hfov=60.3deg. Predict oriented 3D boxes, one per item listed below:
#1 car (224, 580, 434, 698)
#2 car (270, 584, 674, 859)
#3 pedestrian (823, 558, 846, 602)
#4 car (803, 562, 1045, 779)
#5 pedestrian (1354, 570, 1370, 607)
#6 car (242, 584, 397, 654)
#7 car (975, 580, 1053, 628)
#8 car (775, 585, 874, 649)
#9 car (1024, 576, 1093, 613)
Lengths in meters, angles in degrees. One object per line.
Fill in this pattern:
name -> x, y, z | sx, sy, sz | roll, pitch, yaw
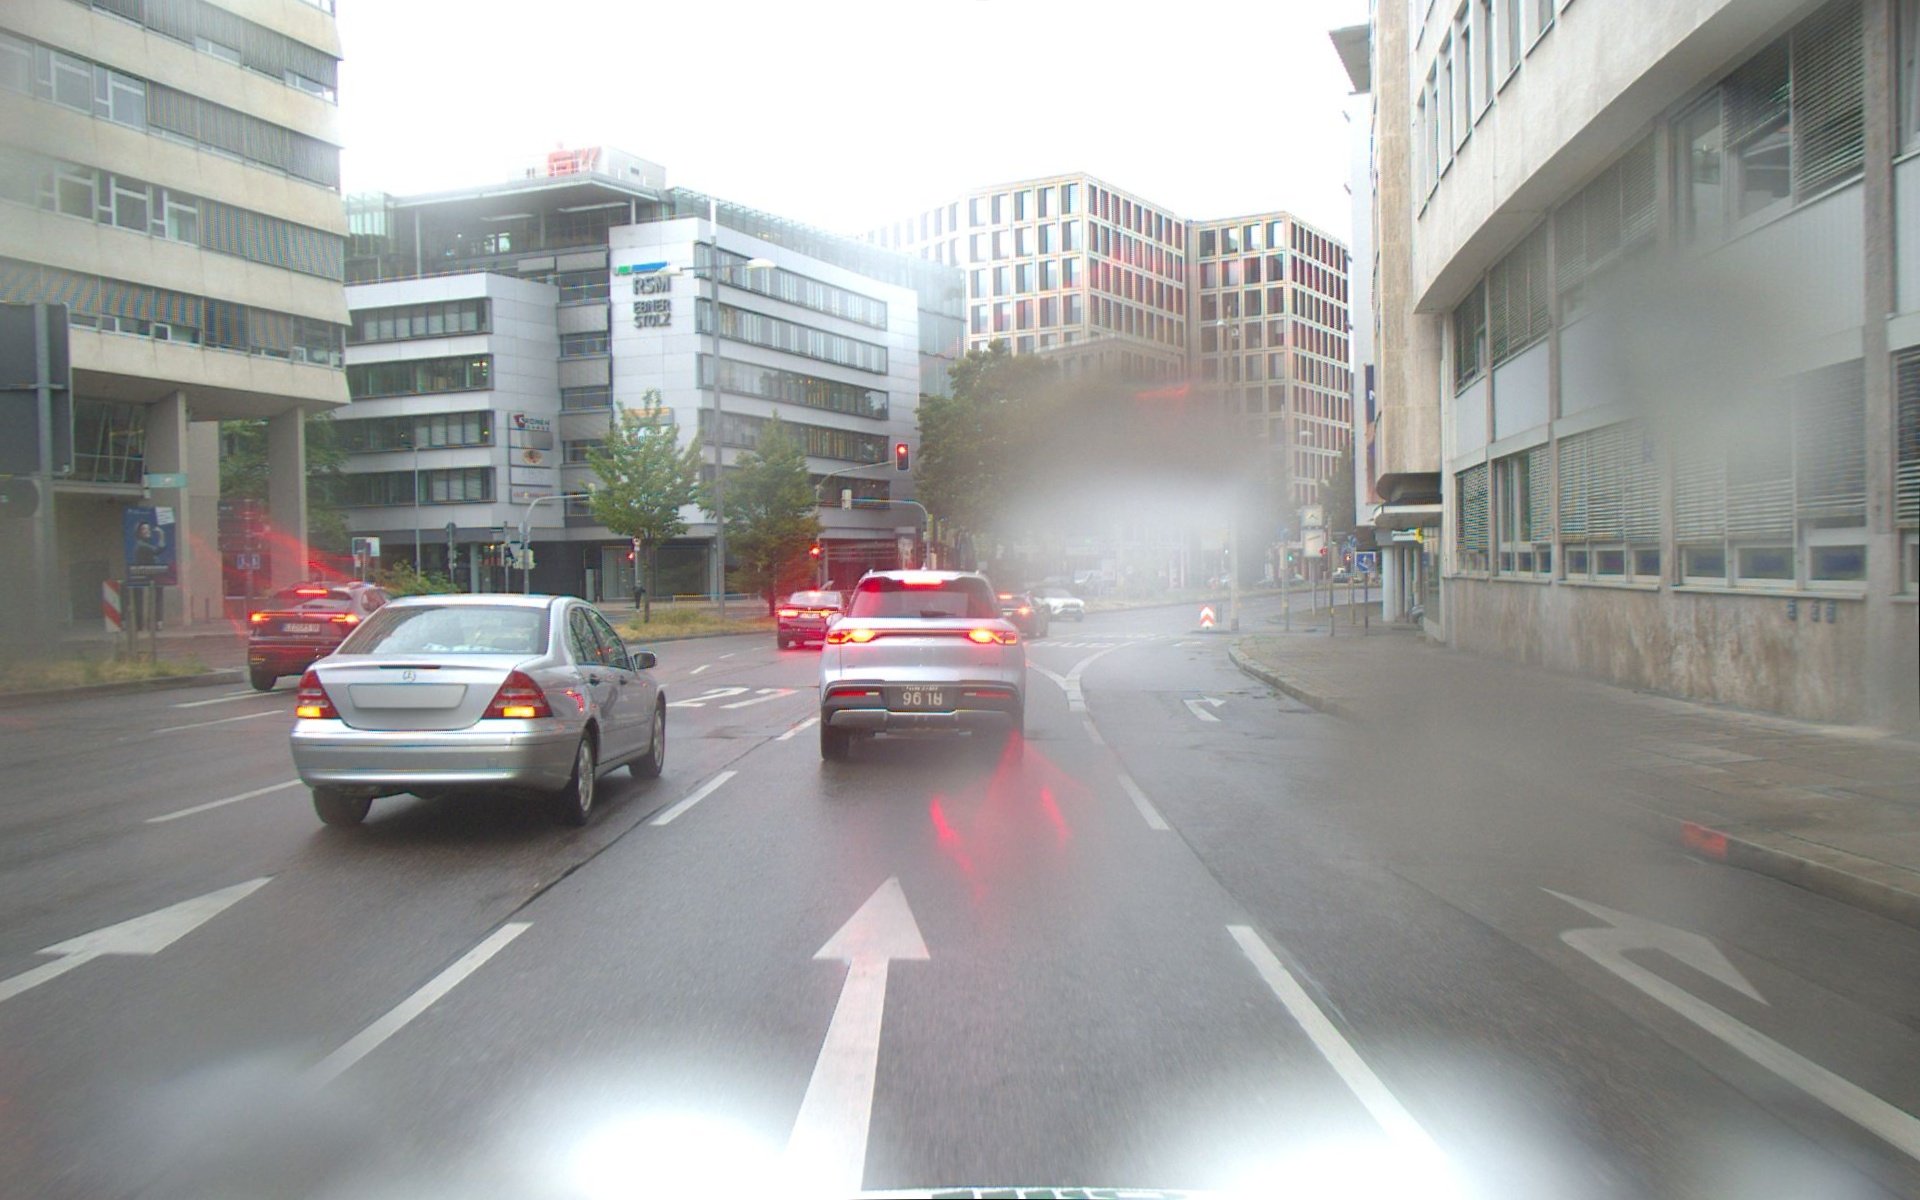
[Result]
car -> -9.313, 0.497, 24.811 | 1.956, 1.571, 4.475 | -1, 1, -8
car -> -3.132, 0.670, 11.502 | 1.648, 1.512, 4.195 | 0, 1, -2
pedestrian -> -5.152, -0.832, 67.911 | 0.903, 1.768, 0.729 | 0, 1, -3
car -> -0.344, 0.533, 15.679 | 1.953, 1.739, 4.482 | 0, 1, -2
pedestrian -> 18.715, -0.534, 77.009 | 0.712, 1.698, 0.691 | 0, 0, 17
car -> -17.342, 0.463, 45.027 | 1.700, 1.758, 4.498 | 1, 1, 13
car -> 1.872, 0.098, 56.014 | 1.913, 1.556, 4.004 | 0, 1, 13
car -> -3.499, 0.406, 43.527 | 1.914, 1.556, 4.003 | 0, 1, 6
car -> 4.872, -0.298, 82.755 | 1.963, 1.780, 4.508 | 0, 1, -18
